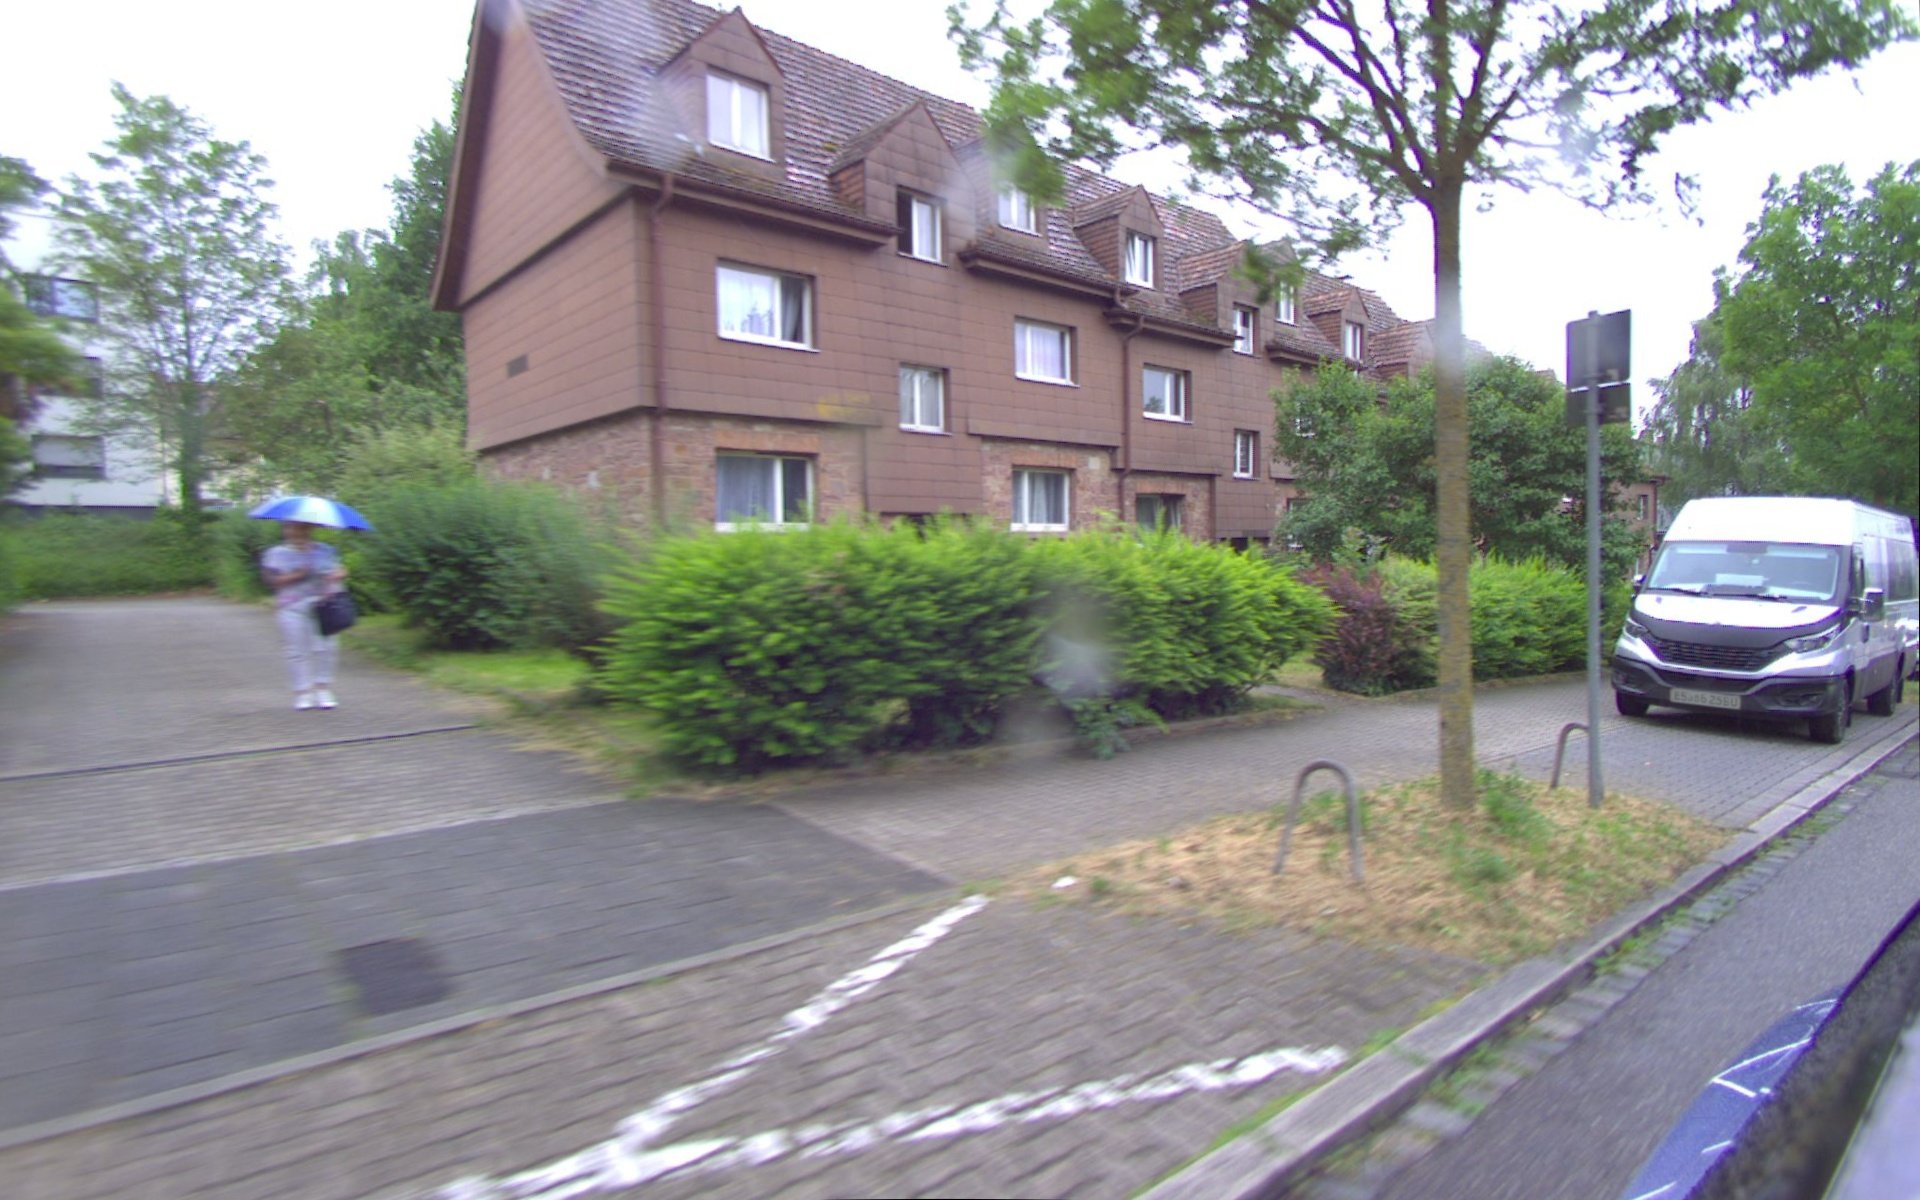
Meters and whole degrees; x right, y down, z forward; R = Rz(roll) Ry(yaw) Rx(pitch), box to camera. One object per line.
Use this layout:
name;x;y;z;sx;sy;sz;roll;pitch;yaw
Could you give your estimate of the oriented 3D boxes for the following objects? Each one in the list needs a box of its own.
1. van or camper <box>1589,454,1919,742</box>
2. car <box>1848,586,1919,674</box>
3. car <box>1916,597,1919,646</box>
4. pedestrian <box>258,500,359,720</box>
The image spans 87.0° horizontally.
van or camper;10.417;-0.054;12.609;7.172;2.683;2.203;1;3;-41
car;18.928;0.575;19.755;3.762;1.546;1.674;0;4;-39
car;30.185;0.601;30.104;4.391;1.622;1.830;1;3;-38
pedestrian;-5.346;0.063;8.292;0.641;1.700;0.710;1;2;-35
